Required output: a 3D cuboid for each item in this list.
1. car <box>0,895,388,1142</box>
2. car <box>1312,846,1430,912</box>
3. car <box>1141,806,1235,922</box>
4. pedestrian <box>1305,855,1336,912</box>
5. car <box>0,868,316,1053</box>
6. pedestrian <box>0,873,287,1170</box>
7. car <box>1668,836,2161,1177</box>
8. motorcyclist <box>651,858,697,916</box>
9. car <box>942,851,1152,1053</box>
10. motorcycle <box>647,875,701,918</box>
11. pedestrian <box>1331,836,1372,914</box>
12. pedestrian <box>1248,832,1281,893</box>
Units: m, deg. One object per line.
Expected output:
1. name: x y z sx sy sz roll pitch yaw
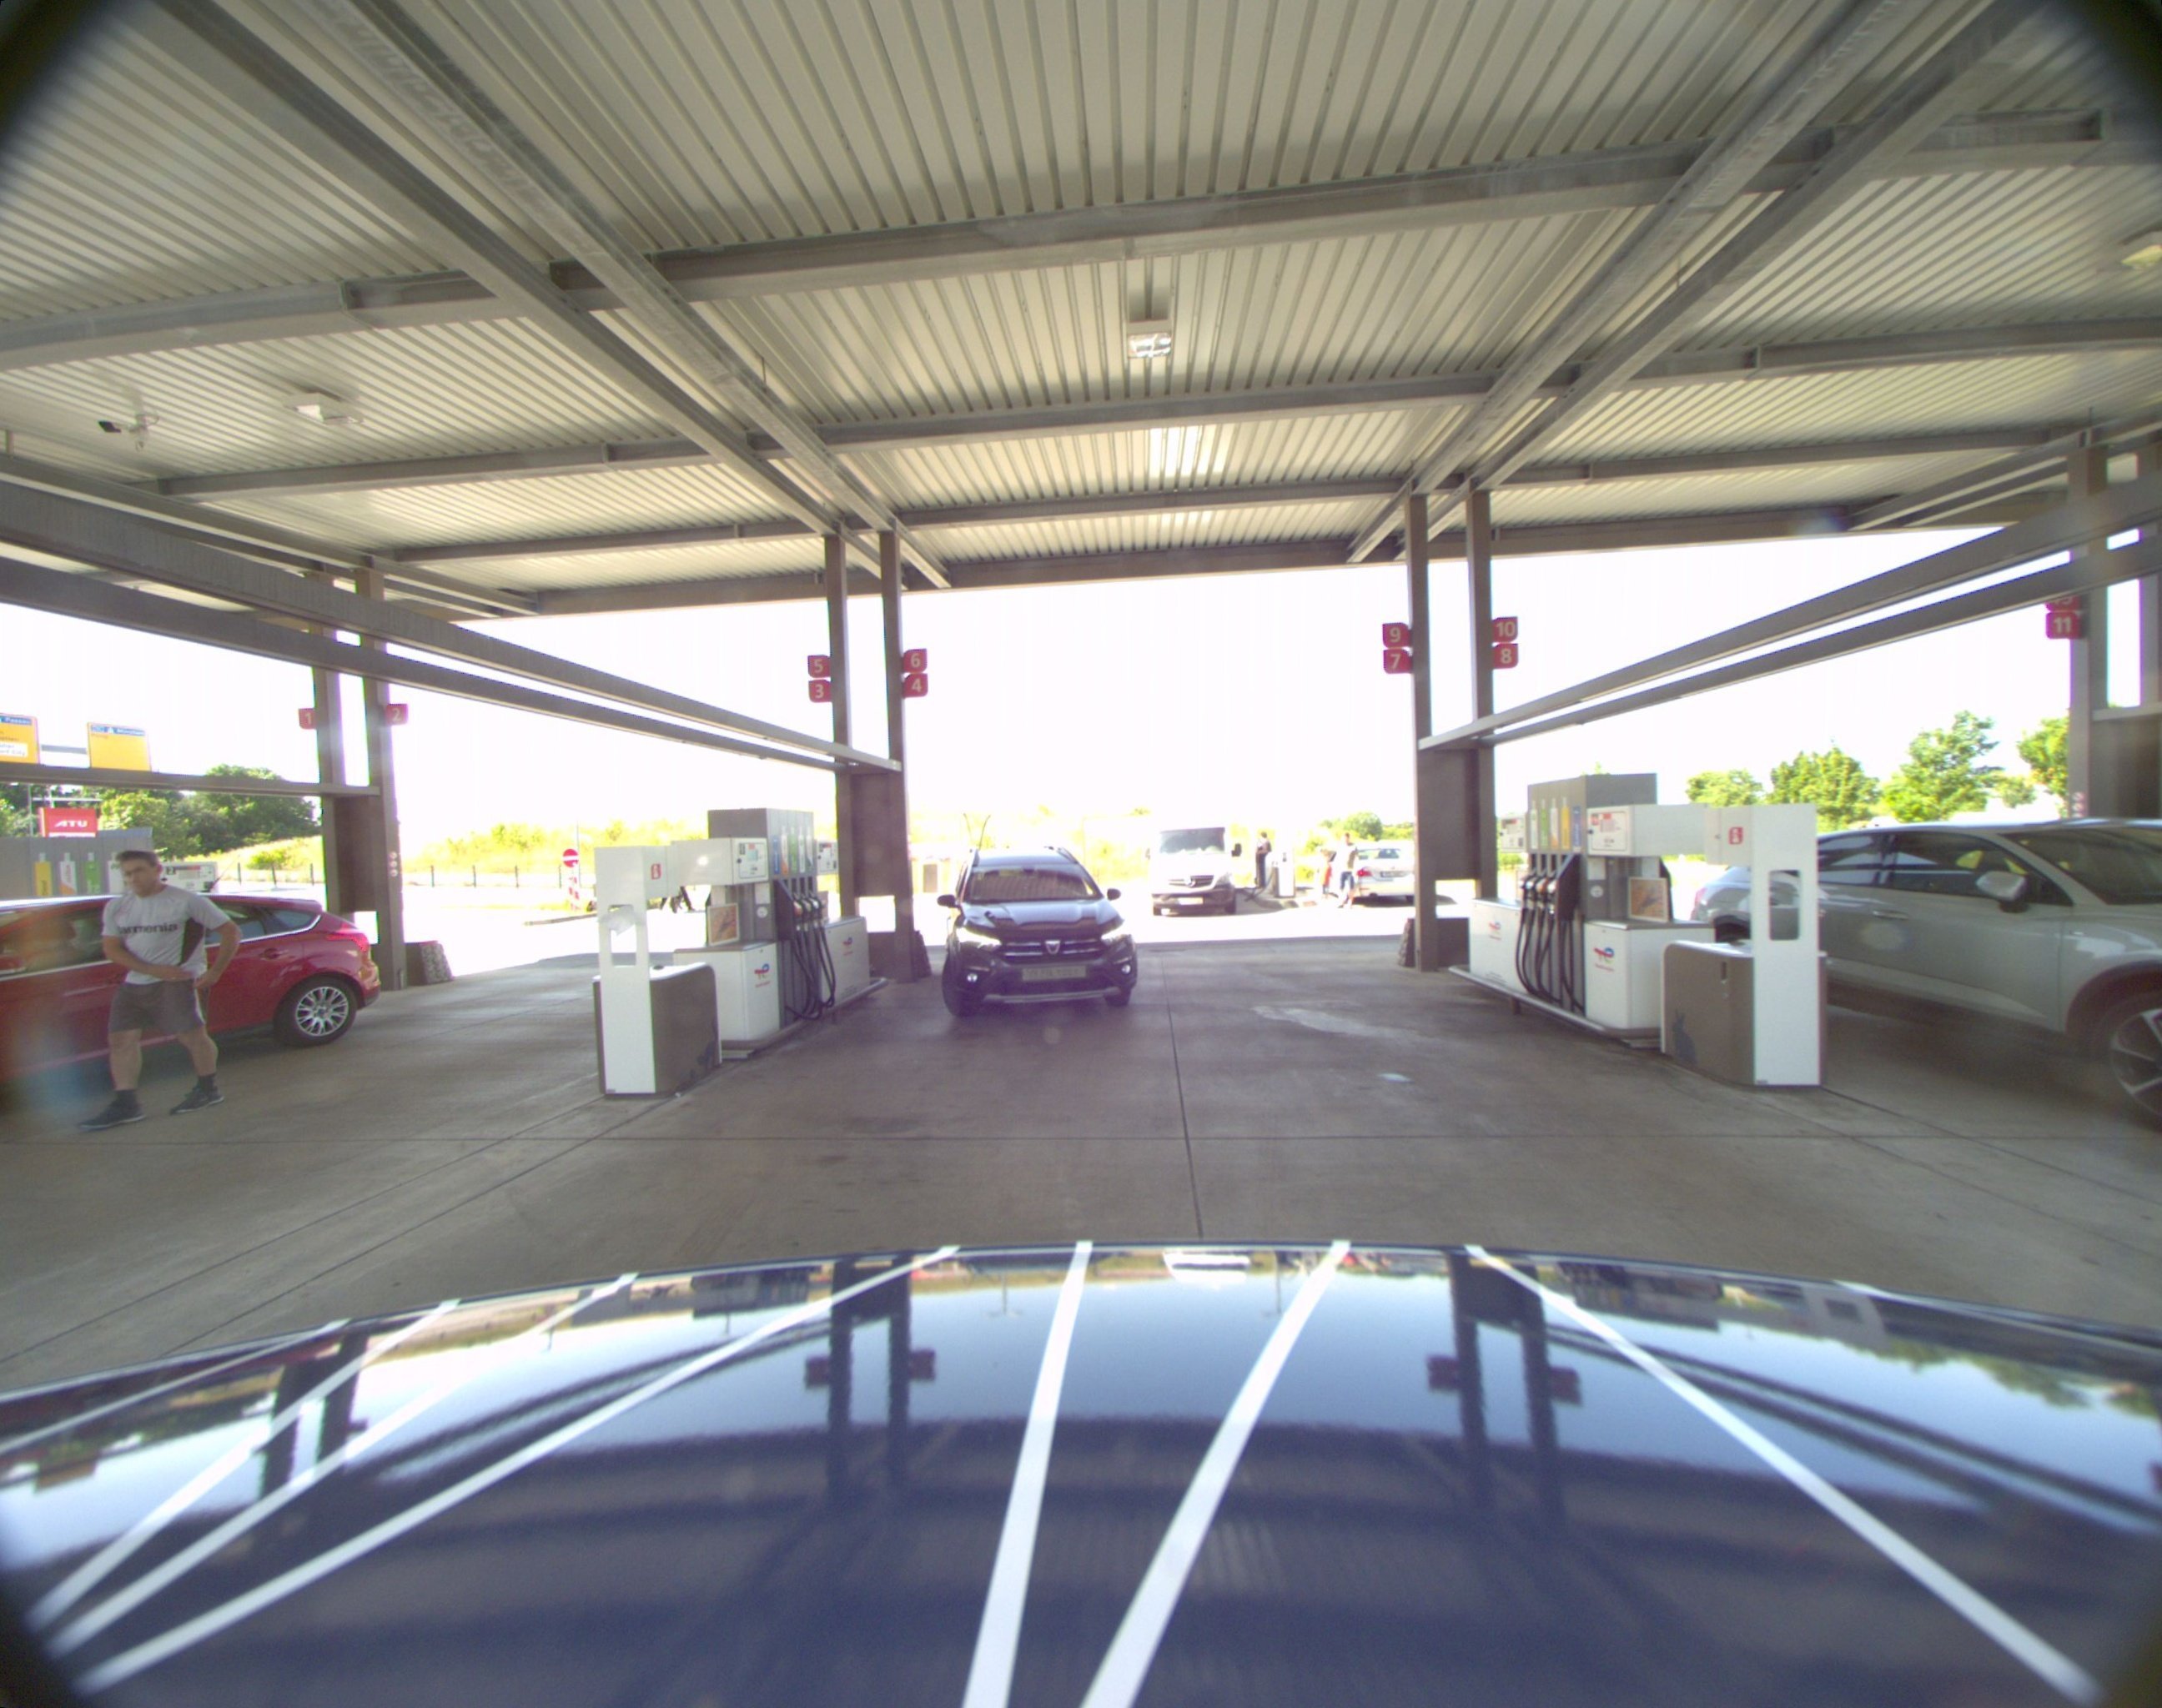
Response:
1. car: -7.899 1.175 5.461 1.702 1.460 4.234 -2 0 5
2. car: 7.352 0.555 19.695 1.791 1.420 4.322 -2 2 6
3. car: 3.069 0.070 20.289 1.997 2.557 7.034 -1 3 12
4. pedestrian: 5.679 0.689 18.029 0.577 1.299 0.669 -2 1 7
5. car: -12.300 1.128 9.159 2.035 1.840 4.793 -1 0 -12
6. pedestrian: -6.016 0.991 4.944 0.703 1.693 0.927 -2 1 -9
7. car: 5.955 0.684 4.577 1.784 1.532 4.327 -2 0 5
8. motorcyclist: -12.334 0.984 23.072 1.035 1.678 1.097 -2 1 -20
9. car: -0.677 0.809 8.736 1.744 1.635 4.627 -2 0 -11
10. motorcycle: -12.354 1.255 23.162 1.046 1.099 2.411 -2 1 -19
11. pedestrian: 6.276 0.472 17.667 0.708 1.739 0.845 -2 1 7
12. pedestrian: 5.409 0.250 22.457 0.844 1.759 0.710 -2 1 9
